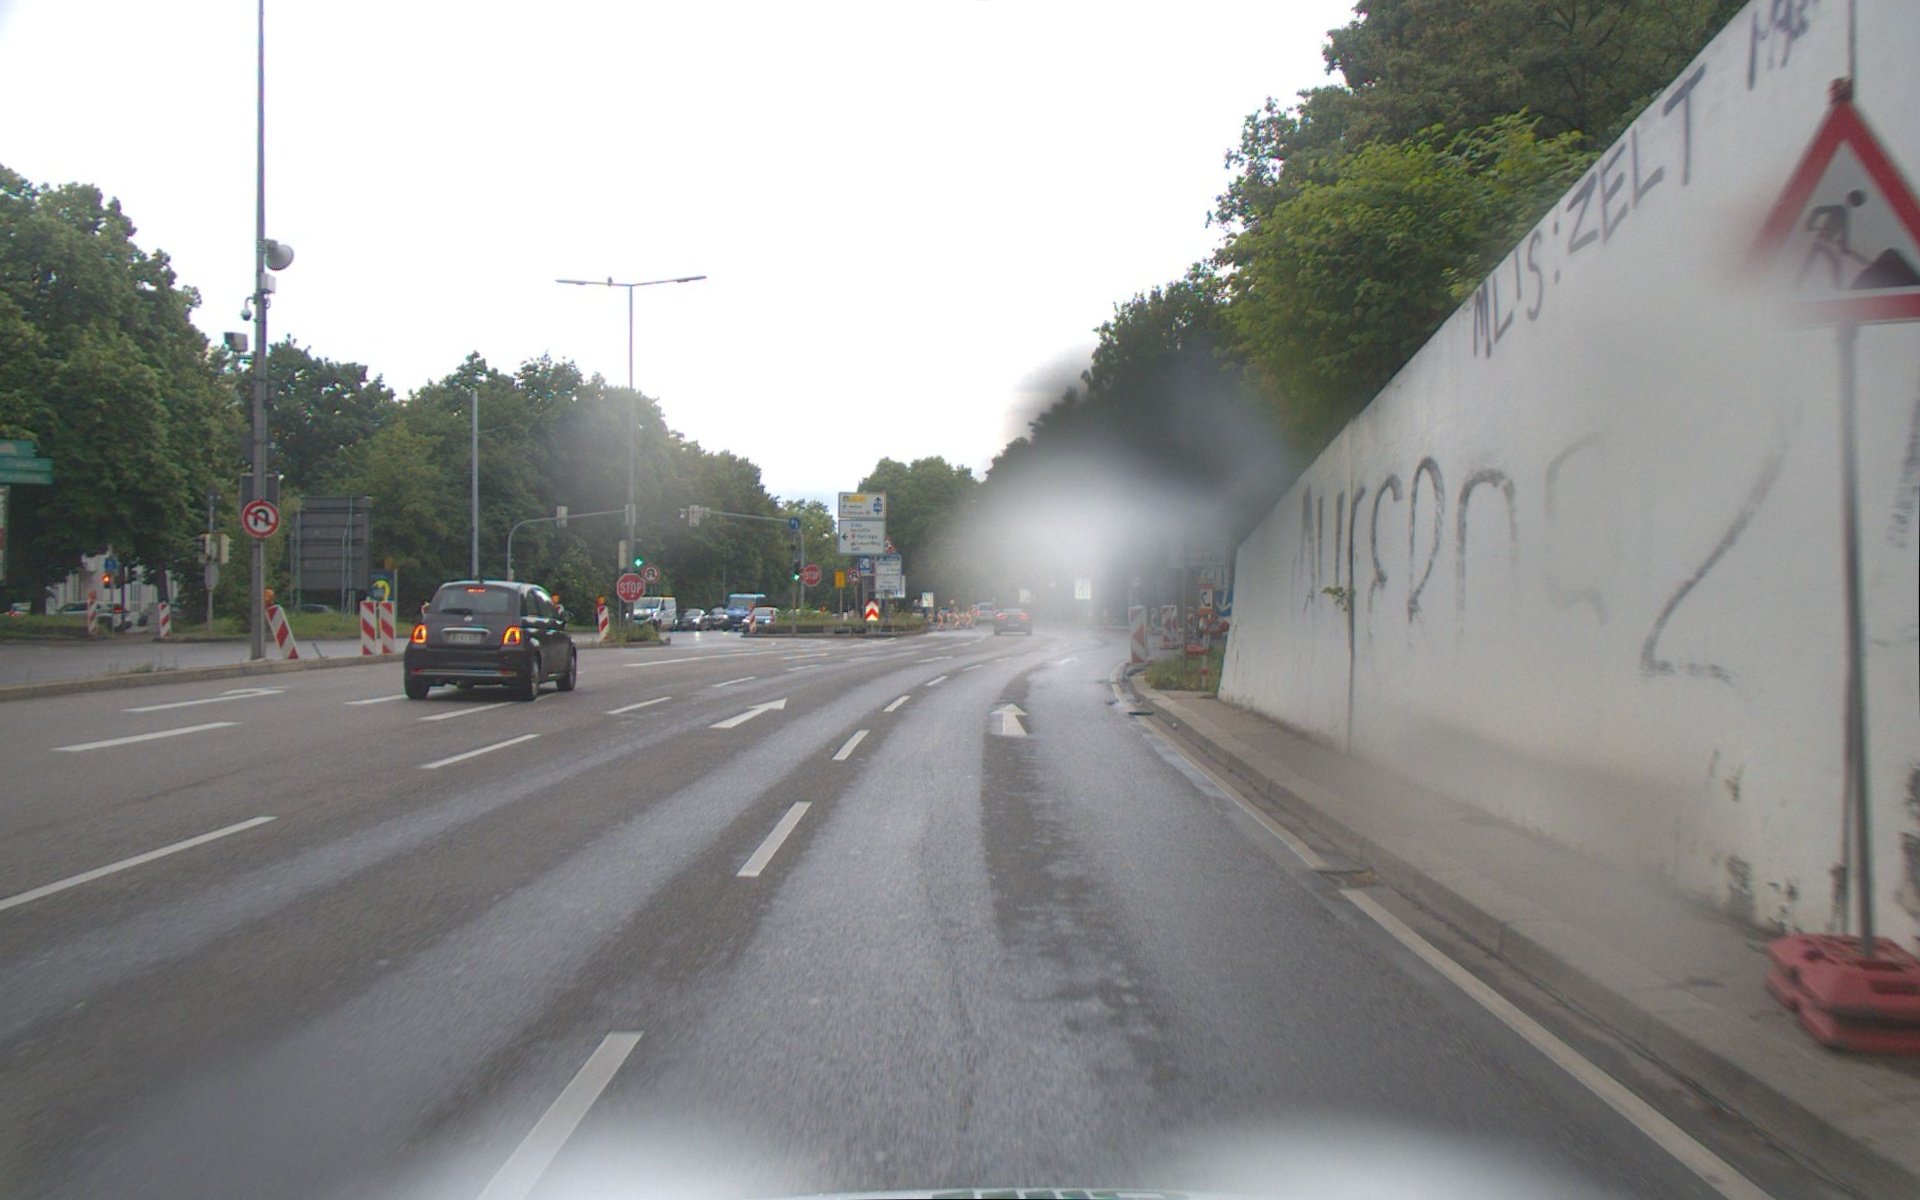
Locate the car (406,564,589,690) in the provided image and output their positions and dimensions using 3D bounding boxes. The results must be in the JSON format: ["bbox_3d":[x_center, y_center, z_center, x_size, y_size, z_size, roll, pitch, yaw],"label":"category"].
[{"bbox_3d":[-5.998,0.292,21.836,1.580,1.479,3.570,2,1,-4],"label":"car"}]

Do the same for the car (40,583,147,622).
[{"bbox_3d":[-39.860,0.114,76.177,3.911,1.713,1.895,0,1,-7],"label":"car"}]

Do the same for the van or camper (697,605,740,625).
[{"bbox_3d":[-16.487,1.038,113.110,1.967,1.324,4.094,0,0,5],"label":"van or camper"}]

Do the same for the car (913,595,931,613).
[{"bbox_3d":[-4.447,0.468,193.854,1.954,2.049,3.998,1,0,-3],"label":"car"}]

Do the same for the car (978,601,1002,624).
[{"bbox_3d":[2.807,1.177,155.613,1.954,2.049,3.998,1,0,-3],"label":"car"}]

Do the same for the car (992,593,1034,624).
[{"bbox_3d":[2.600,0.434,81.011,1.952,1.473,4.315,0,0,2],"label":"car"}]

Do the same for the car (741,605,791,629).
[{"bbox_3d":[-10.820,0.932,92.387,1.967,1.324,4.318,0,0,5],"label":"car"}]

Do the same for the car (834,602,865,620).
[{"bbox_3d":[-8.421,0.839,126.377,1.967,1.324,4.316,0,0,1],"label":"car"}]

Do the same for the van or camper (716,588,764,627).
[{"bbox_3d":[-13.830,0.460,104.041,2.083,2.390,4.429,0,0,5],"label":"van or camper"}]

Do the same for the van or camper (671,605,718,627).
[{"bbox_3d":[-16.495,0.968,103.001,1.967,1.324,4.094,0,0,5],"label":"van or camper"}]

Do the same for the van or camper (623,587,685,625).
[{"bbox_3d":[-17.148,0.352,92.956,2.083,2.049,5.317,0,0,5],"label":"van or camper"}]

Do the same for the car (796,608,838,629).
[{"bbox_3d":[-8.993,1.166,104.264,1.967,1.324,4.318,0,0,5],"label":"car"}]

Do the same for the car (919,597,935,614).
[{"bbox_3d":[-4.156,0.678,208.161,1.954,2.049,3.998,1,0,-3],"label":"car"}]
